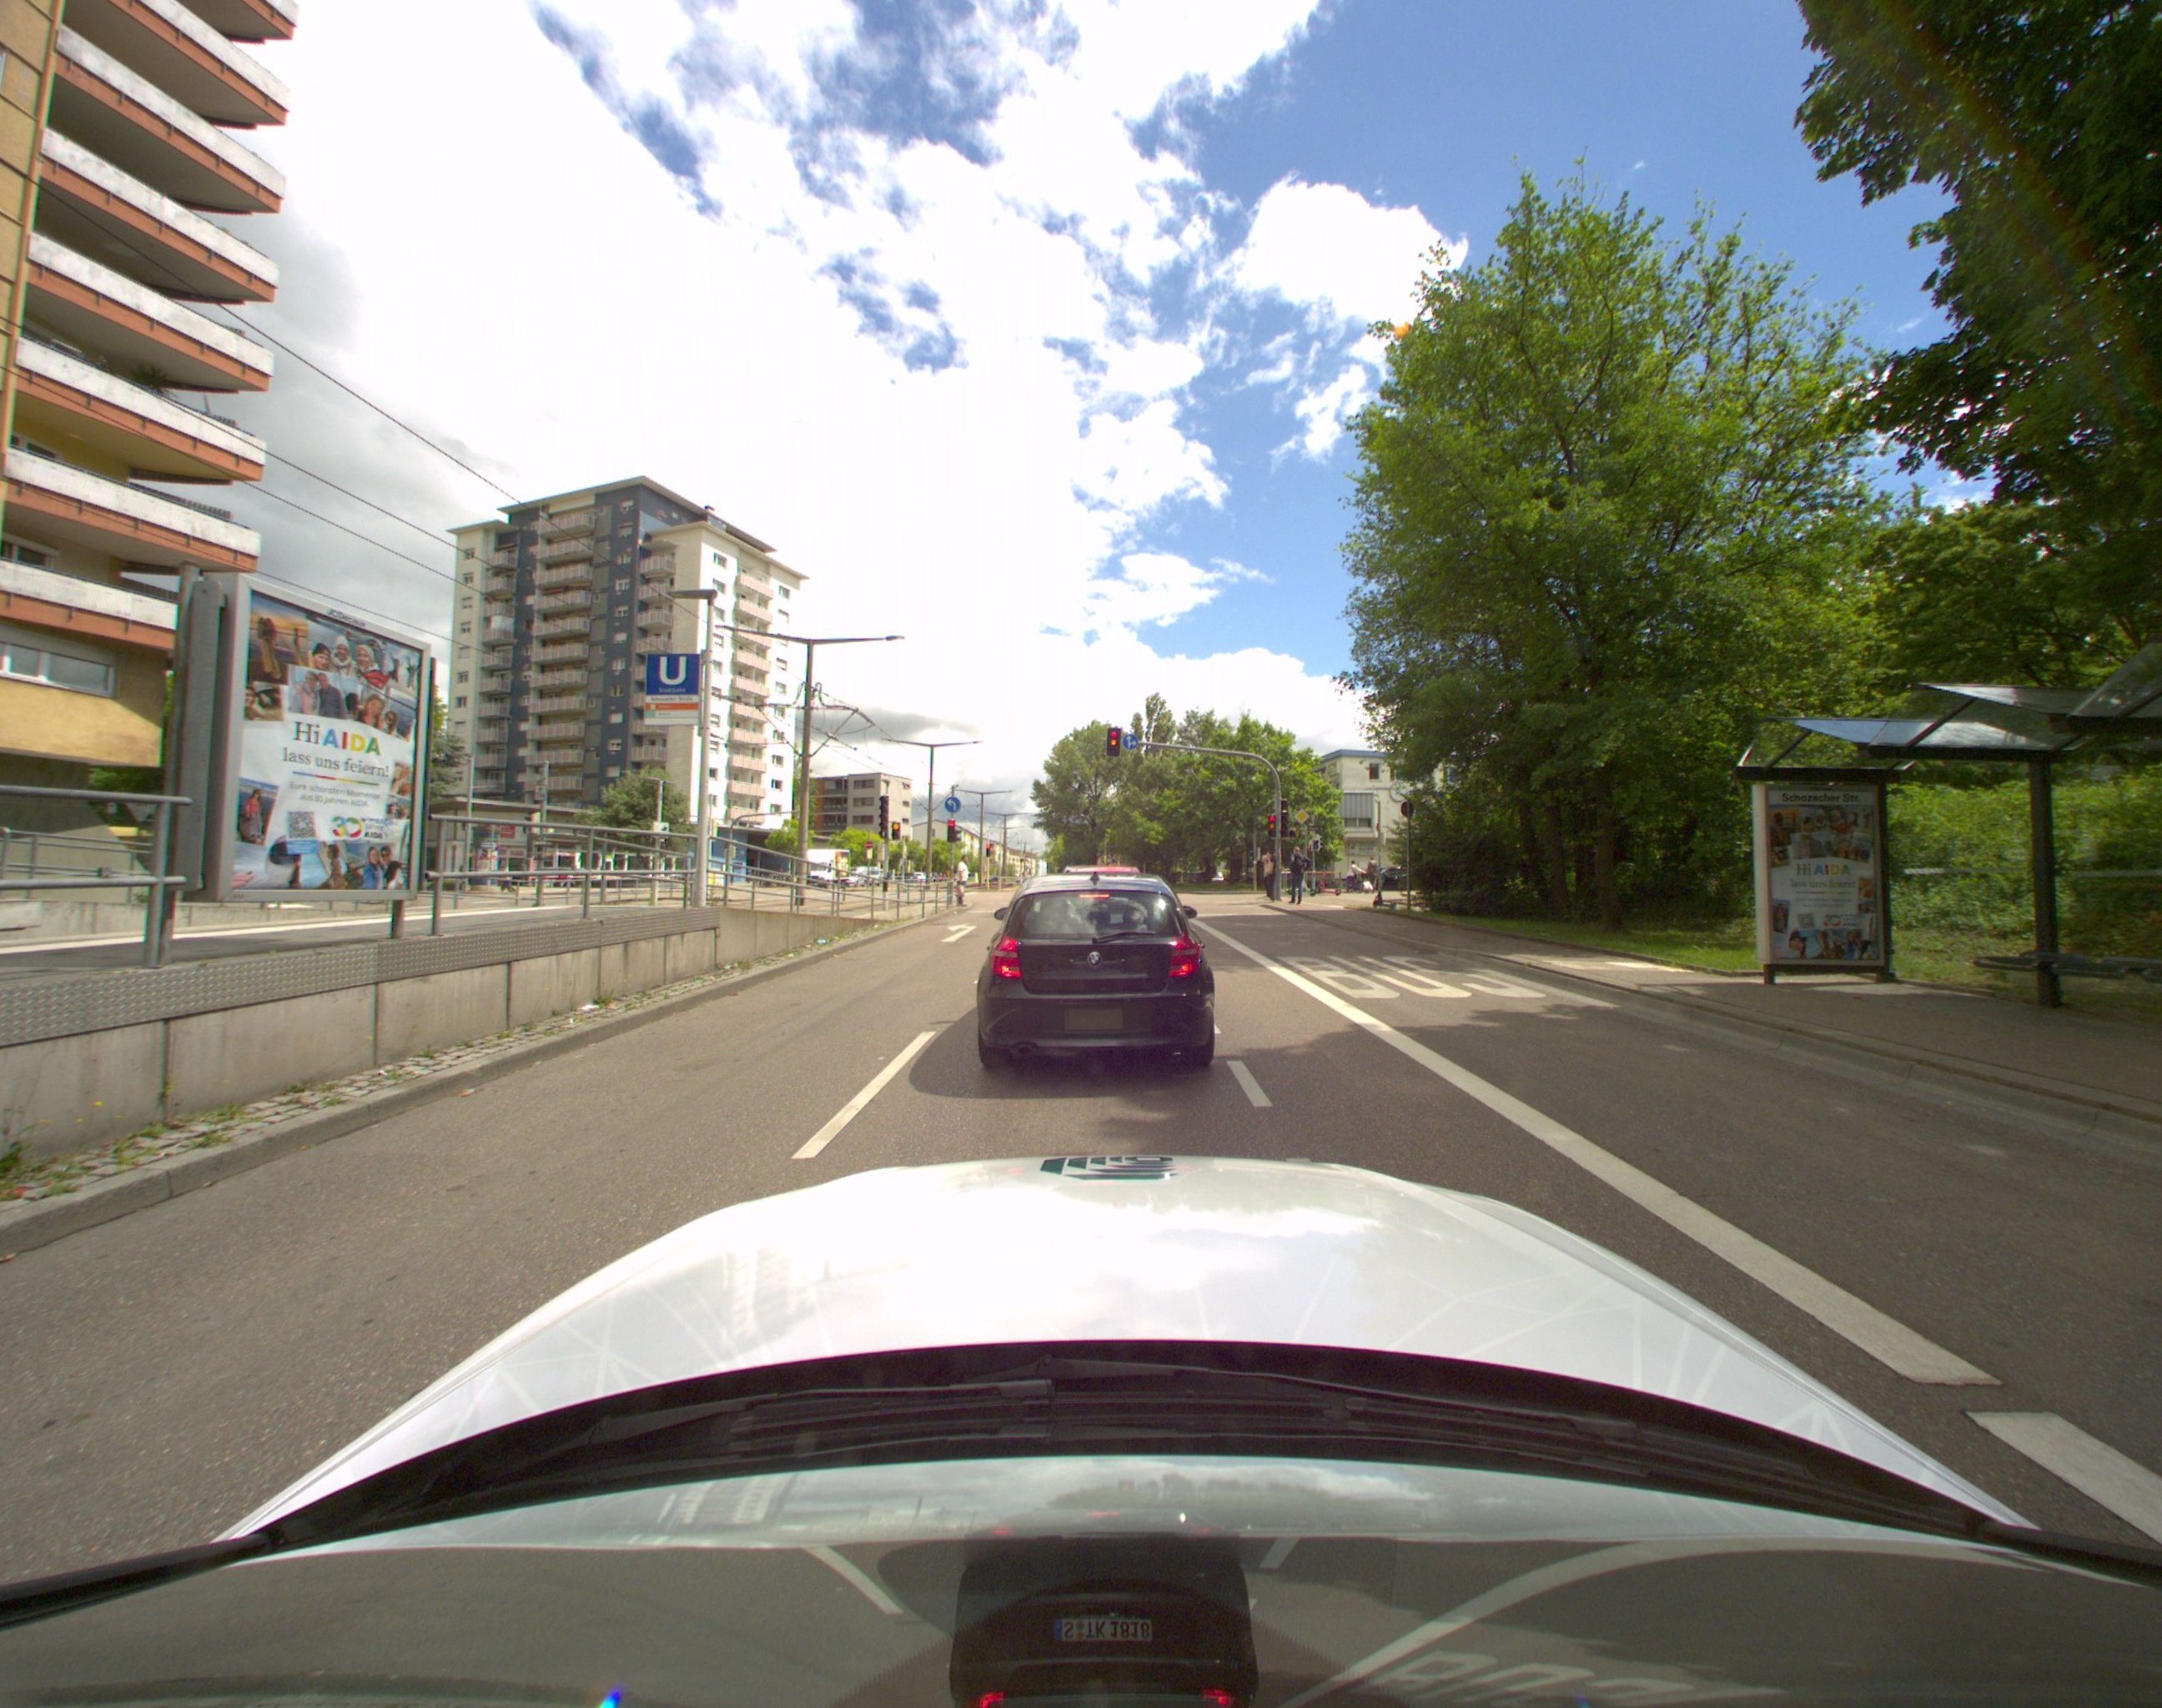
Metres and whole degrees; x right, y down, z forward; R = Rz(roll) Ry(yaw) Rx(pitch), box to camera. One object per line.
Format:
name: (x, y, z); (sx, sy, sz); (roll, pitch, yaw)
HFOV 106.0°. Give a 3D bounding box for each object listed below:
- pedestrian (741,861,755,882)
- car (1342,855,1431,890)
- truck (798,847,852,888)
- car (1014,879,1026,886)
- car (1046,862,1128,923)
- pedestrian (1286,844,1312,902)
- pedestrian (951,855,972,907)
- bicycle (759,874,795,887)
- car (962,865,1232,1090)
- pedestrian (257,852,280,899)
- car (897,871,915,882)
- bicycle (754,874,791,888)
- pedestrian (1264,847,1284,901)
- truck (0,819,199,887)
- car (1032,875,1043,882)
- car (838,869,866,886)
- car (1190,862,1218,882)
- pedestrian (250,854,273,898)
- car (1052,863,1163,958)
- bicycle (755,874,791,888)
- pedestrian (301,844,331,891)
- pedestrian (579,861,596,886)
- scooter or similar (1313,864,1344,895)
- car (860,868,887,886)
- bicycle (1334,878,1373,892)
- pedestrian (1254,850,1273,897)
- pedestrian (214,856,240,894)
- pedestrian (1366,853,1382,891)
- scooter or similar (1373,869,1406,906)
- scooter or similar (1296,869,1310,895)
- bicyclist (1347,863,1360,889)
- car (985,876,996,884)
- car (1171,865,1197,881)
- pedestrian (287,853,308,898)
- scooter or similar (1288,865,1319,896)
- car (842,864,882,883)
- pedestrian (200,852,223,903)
pedestrian: (-32.470, 1.694, 79.445); (0.852, 2.014, 0.851); (-1, -1, 19)
car: (18.056, 1.089, 48.275); (4.529, 2.014, 1.996); (0, -1, -6)
truck: (-20.466, 1.085, 65.438); (2.275, 3.118, 7.312); (0, -1, -2)
car: (-13.102, 6.158, 175.543); (1.641, 1.534, 3.881); (0, -1, 9)
car: (0.216, 0.919, 21.219); (1.893, 1.422, 4.540); (0, -1, 2)
pedestrian: (7.200, 0.627, 26.933); (0.789, 1.876, 1.018); (-1, -1, 16)
pedestrian: (-4.093, 0.926, 27.864); (0.687, 1.734, 0.685); (-1, -1, -10)
bicycle: (-24.278, 2.141, 65.078); (2.570, 1.009, 0.749); (2, -3, -27)
car: (0.153, 0.798, 6.842); (1.694, 1.400, 3.421); (0, -1, 2)
pedestrian: (-35.533, 0.933, 35.624); (0.541, 2.014, 0.557); (0, -1, -24)
car: (-24.150, 3.050, 112.663); (1.586, 1.474, 3.775); (0, -1, 1)
bicycle: (-23.863, 2.117, 63.048); (2.570, 1.009, 0.749); (2, -3, -27)
pedestrian: (6.791, 0.713, 28.653); (0.632, 1.876, 0.519); (0, -1, 8)
truck: (-34.576, -0.024, 28.756); (4.262, 2.290, 2.352); (0, -1, 2)
car: (-10.534, 5.822, 196.047); (1.641, 1.534, 3.882); (-2, -1, 10)
car: (-20.627, 2.097, 73.505); (1.402, 1.461, 3.773); (0, -1, 0)
car: (11.982, 1.755, 79.627); (1.724, 1.871, 3.990); (0, -1, -7)
pedestrian: (-37.825, 0.999, 37.598); (0.540, 2.014, 0.558); (0, -1, -23)
car: (0.444, 0.855, 13.742); (1.632, 1.400, 3.421); (0, -1, 2)
bicycle: (-24.155, 2.131, 63.973); (2.570, 1.009, 0.749); (2, -3, -27)
pedestrian: (-28.885, 0.510, 30.762); (0.650, 1.776, 0.667); (-1, -1, 30)
pedestrian: (-39.620, 1.556, 65.368); (0.851, 2.014, 0.852); (-1, -1, 29)
scooter or similar: (10.277, 1.047, 33.802); (1.145, 1.272, 0.556); (1, -1, 4)
car: (-20.442, 2.229, 80.349); (1.586, 1.756, 3.775); (0, -1, 1)
bicycle: (12.309, 1.383, 36.794); (1.570, 0.610, 0.538); (-2, -1, 40)
pedestrian: (6.828, 0.728, 30.472); (0.632, 1.766, 0.519); (0, -1, 8)
pedestrian: (-33.693, 0.832, 32.140); (0.493, 1.440, 0.553); (-4, -2, 24)
pedestrian: (13.484, 0.834, 37.474); (0.651, 1.713, 0.464); (-1, -1, 28)
scooter or similar: (10.742, 1.160, 28.375); (0.886, 1.230, 0.455); (4, -1, 1)
scooter or similar: (9.480, 1.178, 34.801); (0.543, 1.064, 1.267); (0, -1, 16)
bicyclist: (12.309, 1.004, 36.770); (0.394, 1.157, 0.506); (-1, -1, 40)
car: (-17.944, 5.189, 161.343); (1.789, 1.410, 3.997); (0, -1, -1)
car: (11.424, 2.087, 90.564); (1.862, 1.662, 3.987); (0, -1, -9)
pedestrian: (-35.819, 0.982, 37.232); (0.541, 2.014, 0.557); (0, -1, -26)
scooter or similar: (8.989, 1.072, 32.958); (1.105, 1.235, 0.540); (0, -1, 4)
car: (-24.211, 2.134, 90.166); (3.945, 1.975, 1.637); (0, -1, -41)
pedestrian: (-34.668, 0.936, 32.474); (0.555, 2.014, 0.543); (-1, -1, 34)
